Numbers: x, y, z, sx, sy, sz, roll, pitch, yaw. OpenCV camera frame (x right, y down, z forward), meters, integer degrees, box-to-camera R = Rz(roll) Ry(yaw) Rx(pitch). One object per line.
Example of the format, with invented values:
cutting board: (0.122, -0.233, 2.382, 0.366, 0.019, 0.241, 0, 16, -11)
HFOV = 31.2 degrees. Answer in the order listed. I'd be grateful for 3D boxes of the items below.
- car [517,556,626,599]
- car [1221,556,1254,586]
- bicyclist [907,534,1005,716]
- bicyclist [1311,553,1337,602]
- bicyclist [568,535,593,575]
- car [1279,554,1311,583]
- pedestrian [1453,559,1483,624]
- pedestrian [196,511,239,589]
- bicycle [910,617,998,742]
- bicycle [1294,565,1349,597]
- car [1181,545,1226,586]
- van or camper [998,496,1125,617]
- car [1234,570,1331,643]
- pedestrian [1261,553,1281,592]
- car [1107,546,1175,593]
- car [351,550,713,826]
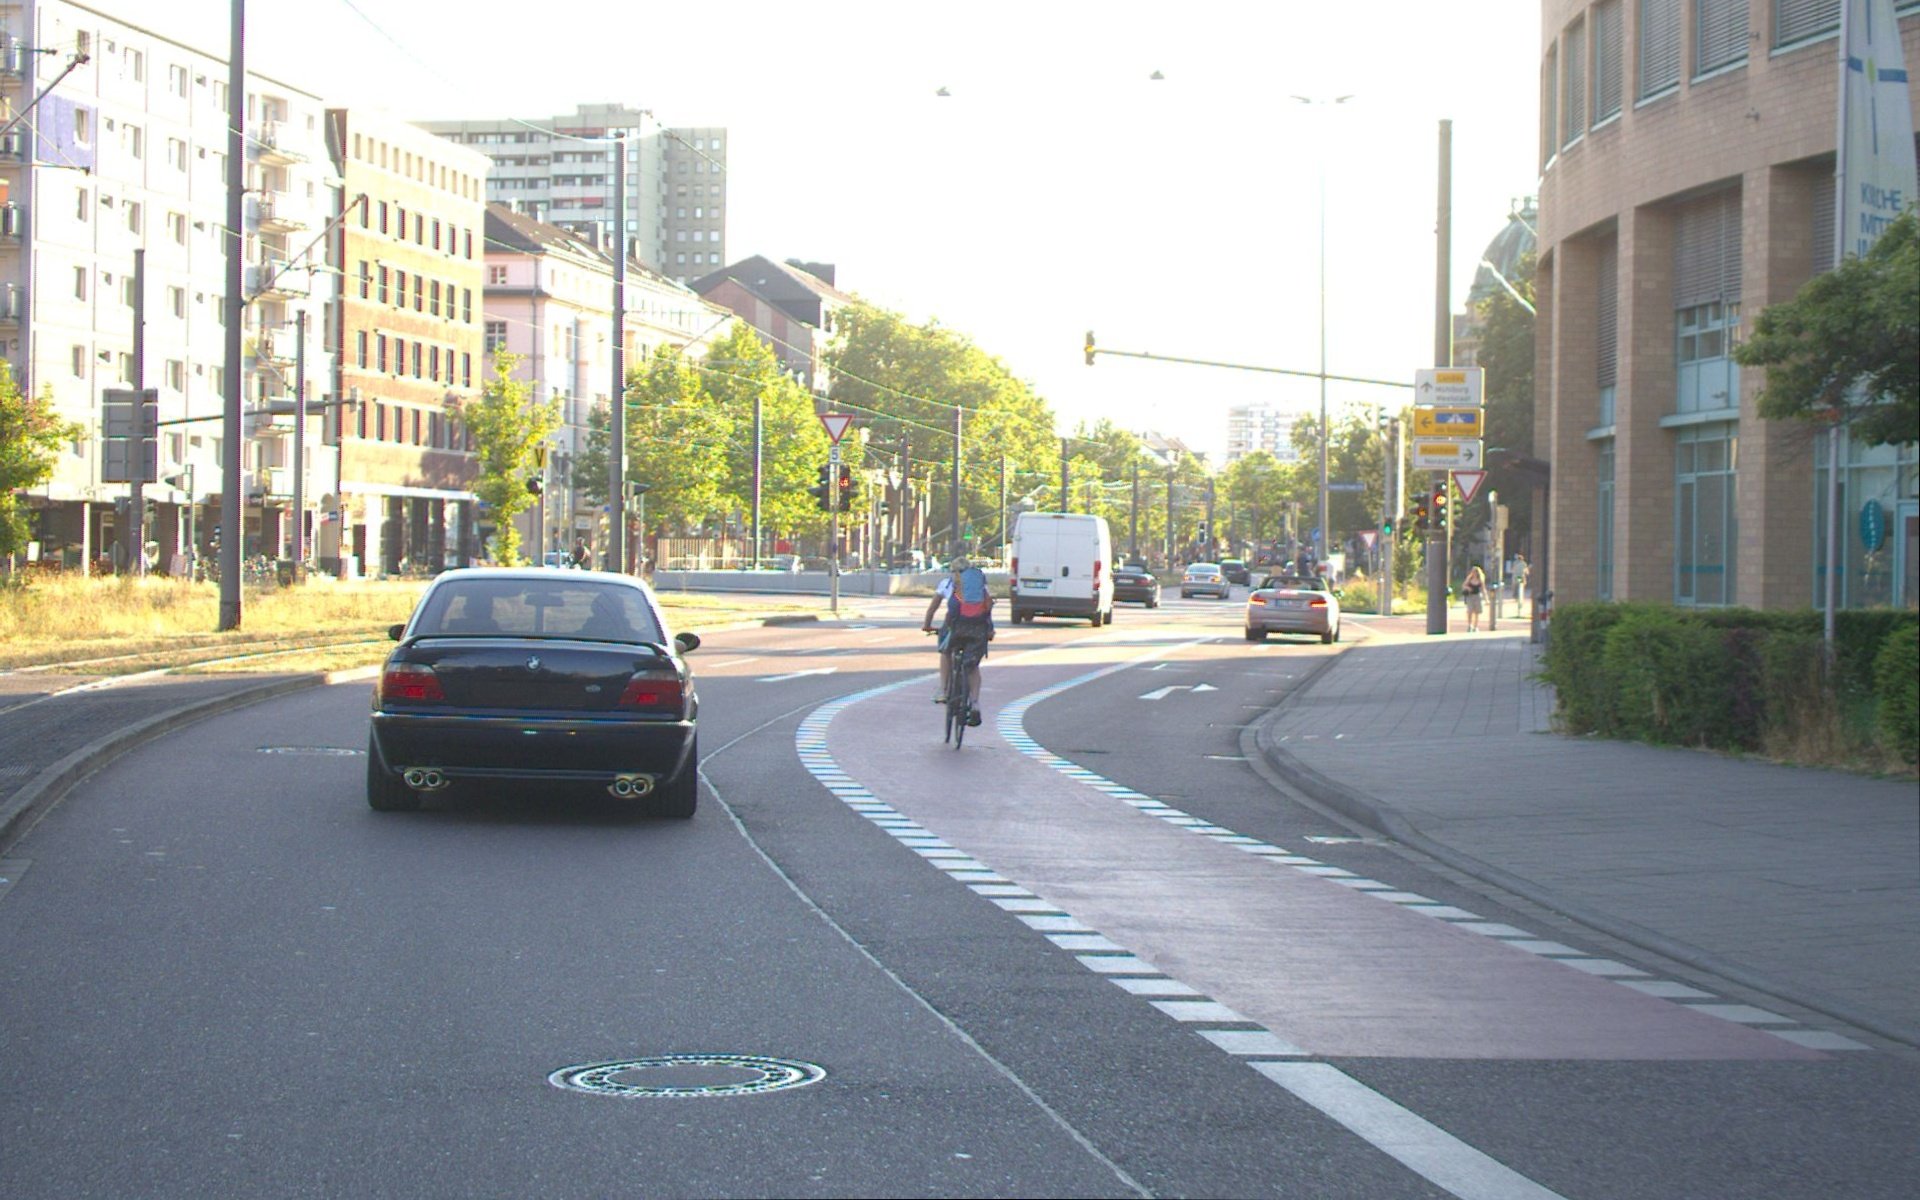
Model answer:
car: (-14.561, -0.854, 128.807, 3.986, 1.429, 1.719, 2, 2, -8)
car: (15.574, -1.630, 192.843, 1.794, 1.560, 4.000, 1, 2, 5)
bicyclist: (-0.041, 0.201, 28.913, 0.655, 1.478, 1.038, 3, 1, -6)
bicyclist: (11.694, -0.725, 110.393, 0.798, 1.566, 0.663, 1, 2, 6)
bicyclist: (-14.042, -1.671, 127.121, 0.853, 1.437, 0.663, 2, 2, -8)
car: (19.481, -1.834, 199.997, 1.794, 1.560, 4.000, 1, 2, 5)
pedestrian: (12.290, -0.209, 83.157, 0.677, 1.564, 0.800, 1, 2, 6)
pedestrian: (-17.098, -1.156, 79.173, 0.720, 1.756, 0.649, 1, 2, 30)
bicycle: (-0.062, 0.657, 29.137, 0.515, 0.951, 1.776, 2, 1, -6)
bicycle: (11.619, -0.600, 110.399, 1.729, 0.966, 0.609, 2, 2, 6)
car: (9.952, -1.419, 140.219, 1.794, 1.560, 4.000, 1, 2, 5)
van or camper: (2.308, -1.026, 77.261, 2.264, 2.616, 4.501, 1, 2, 9)
car: (6.717, 0.105, 71.235, 1.784, 1.349, 4.266, 2, 2, 8)
pedestrian: (11.769, -1.043, 130.065, 0.616, 1.470, 0.800, 1, 2, 13)
car: (5.750, -0.989, 109.066, 1.738, 1.381, 3.999, 1, 2, 9)
car: (-2.439, 0.439, 20.601, 1.830, 1.349, 4.642, 2, 1, -4)
